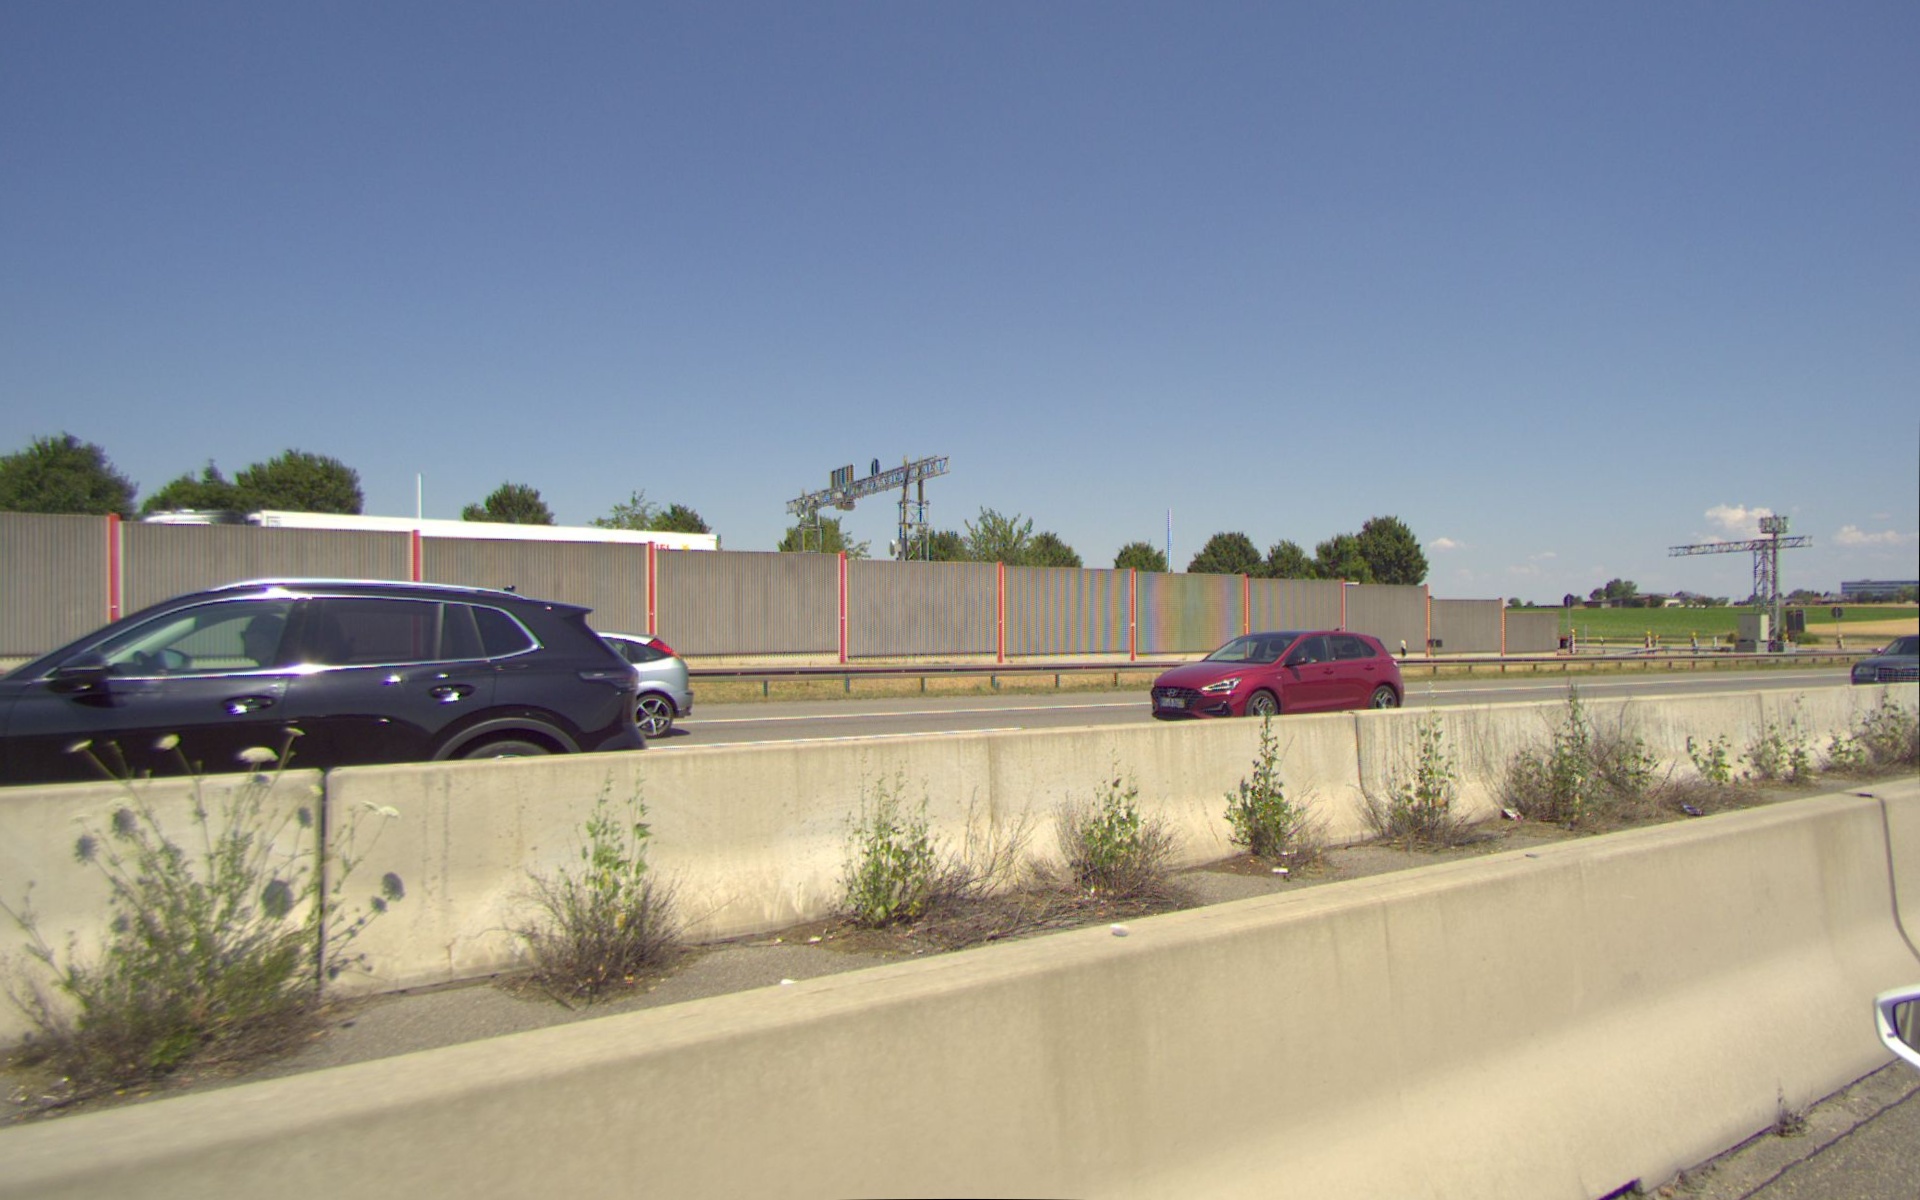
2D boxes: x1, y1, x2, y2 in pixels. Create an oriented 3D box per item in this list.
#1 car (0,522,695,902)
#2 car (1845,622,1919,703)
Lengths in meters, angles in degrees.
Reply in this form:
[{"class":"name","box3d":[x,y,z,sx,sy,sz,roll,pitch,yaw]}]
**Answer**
[{"class":"car","box3d":[-4.150,0.538,6.069,4.589,1.782,1.984,1,0,-30]},{"class":"car","box3d":[20.084,1.275,20.674,3.953,1.539,1.647,2,0,-30]}]
